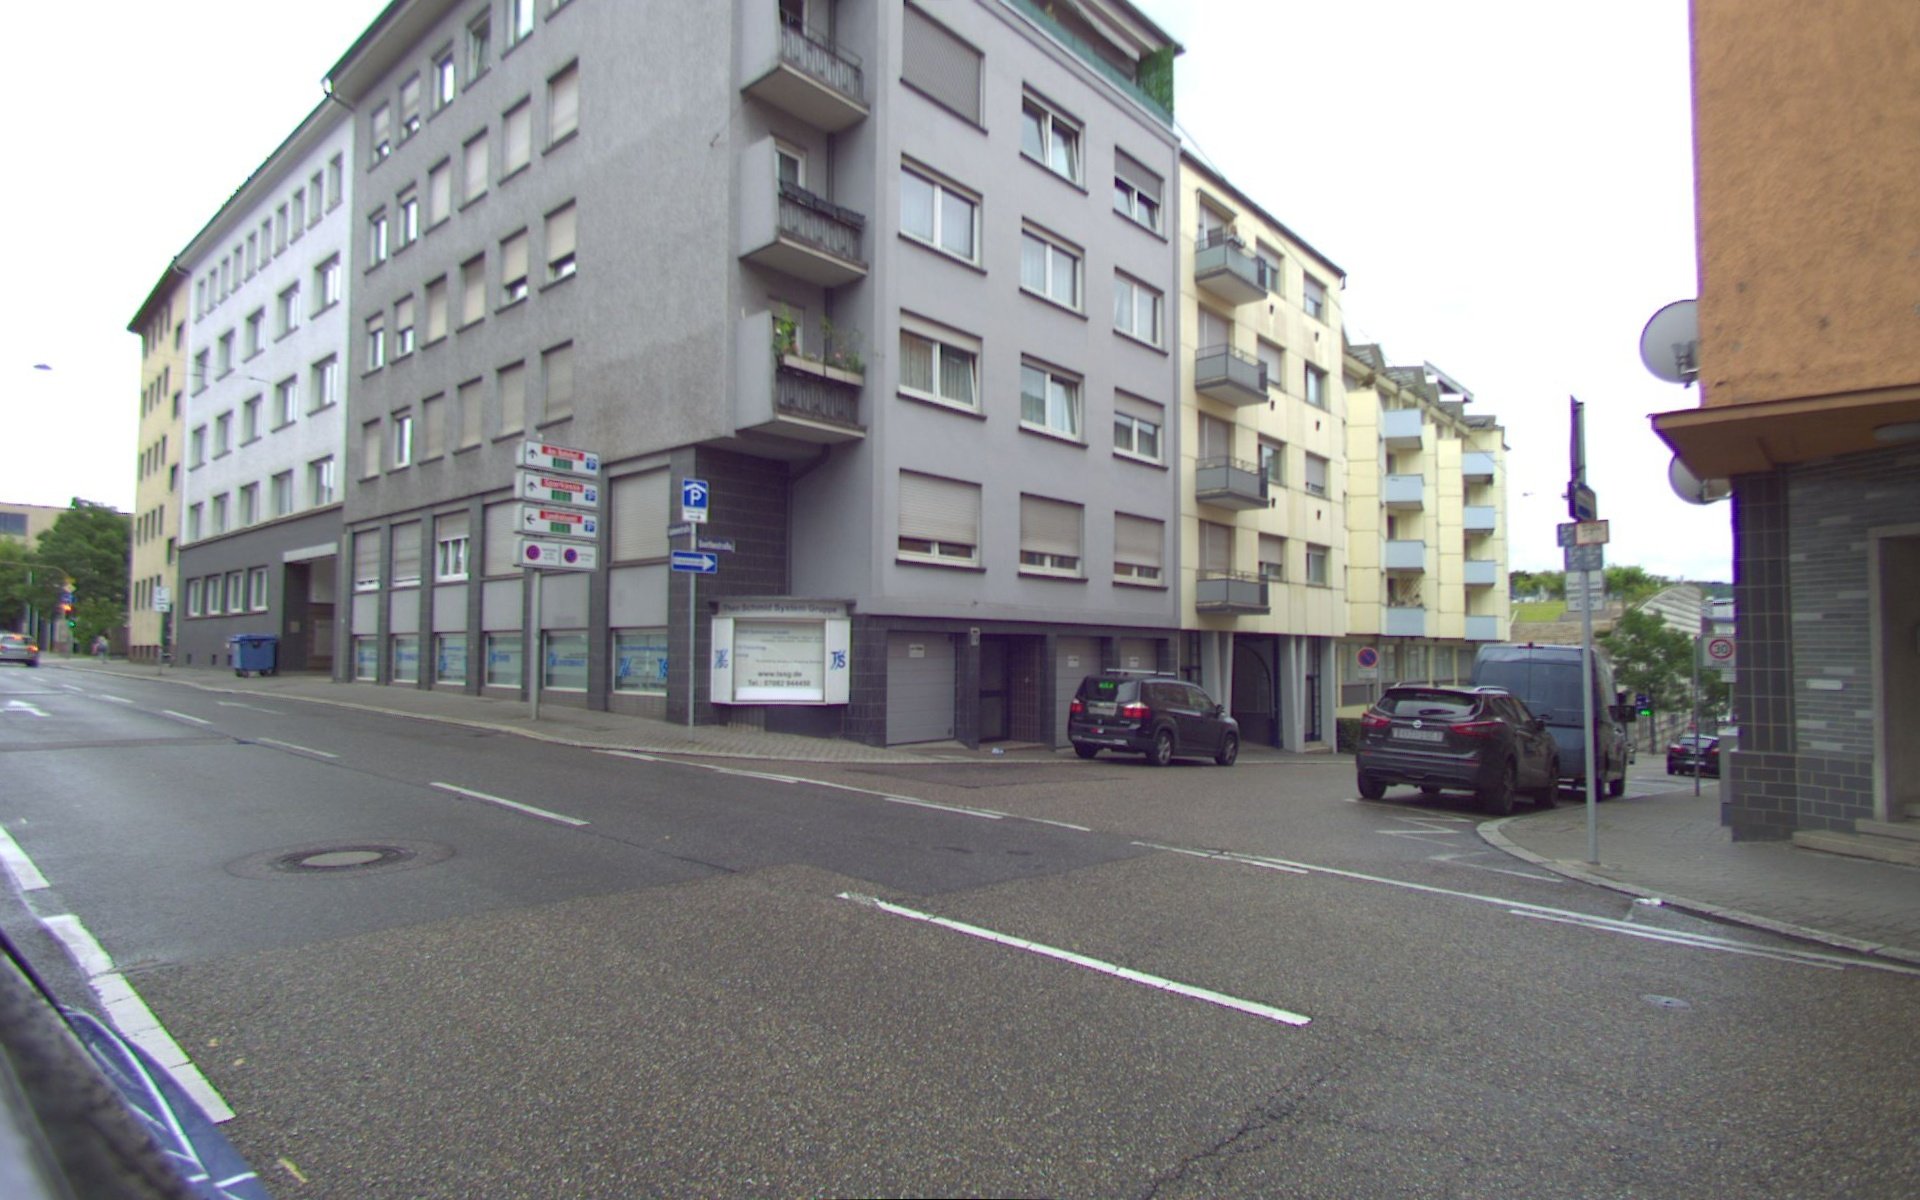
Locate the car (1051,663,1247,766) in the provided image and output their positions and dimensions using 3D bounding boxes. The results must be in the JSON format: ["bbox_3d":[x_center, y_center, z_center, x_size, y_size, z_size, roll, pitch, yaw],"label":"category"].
[{"bbox_3d":[3.757,2.261,19.548,1.794,1.700,4.186,-1,-8,41],"label":"car"}]

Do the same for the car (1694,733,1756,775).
[{"bbox_3d":[31.517,6.355,41.663,1.722,1.506,3.998,-1,-8,41],"label":"car"}]

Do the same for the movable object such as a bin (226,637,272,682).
[{"bbox_3d":[-22.509,1.879,32.031,1.096,1.343,0.933,-1,0,41],"label":"movable object such as a bin"}]

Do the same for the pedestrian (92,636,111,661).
[{"bbox_3d":[-41.513,2.345,48.931,0.574,1.158,0.408,5,-5,-37],"label":"pedestrian"}]

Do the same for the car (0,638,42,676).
[{"bbox_3d":[-43.570,2.575,46.259,4.371,1.602,1.858,-1,-3,41],"label":"car"}]

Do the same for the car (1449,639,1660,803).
[{"bbox_3d":[11.017,2.204,18.497,2.249,2.481,5.975,-1,-7,41],"label":"car"}]

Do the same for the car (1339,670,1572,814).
[{"bbox_3d":[6.858,1.929,13.766,1.842,1.589,4.098,-1,-8,41],"label":"car"}]

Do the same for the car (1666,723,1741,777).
[{"bbox_3d":[26.429,5.322,35.941,1.817,1.688,3.998,-1,-8,41],"label":"car"}]
